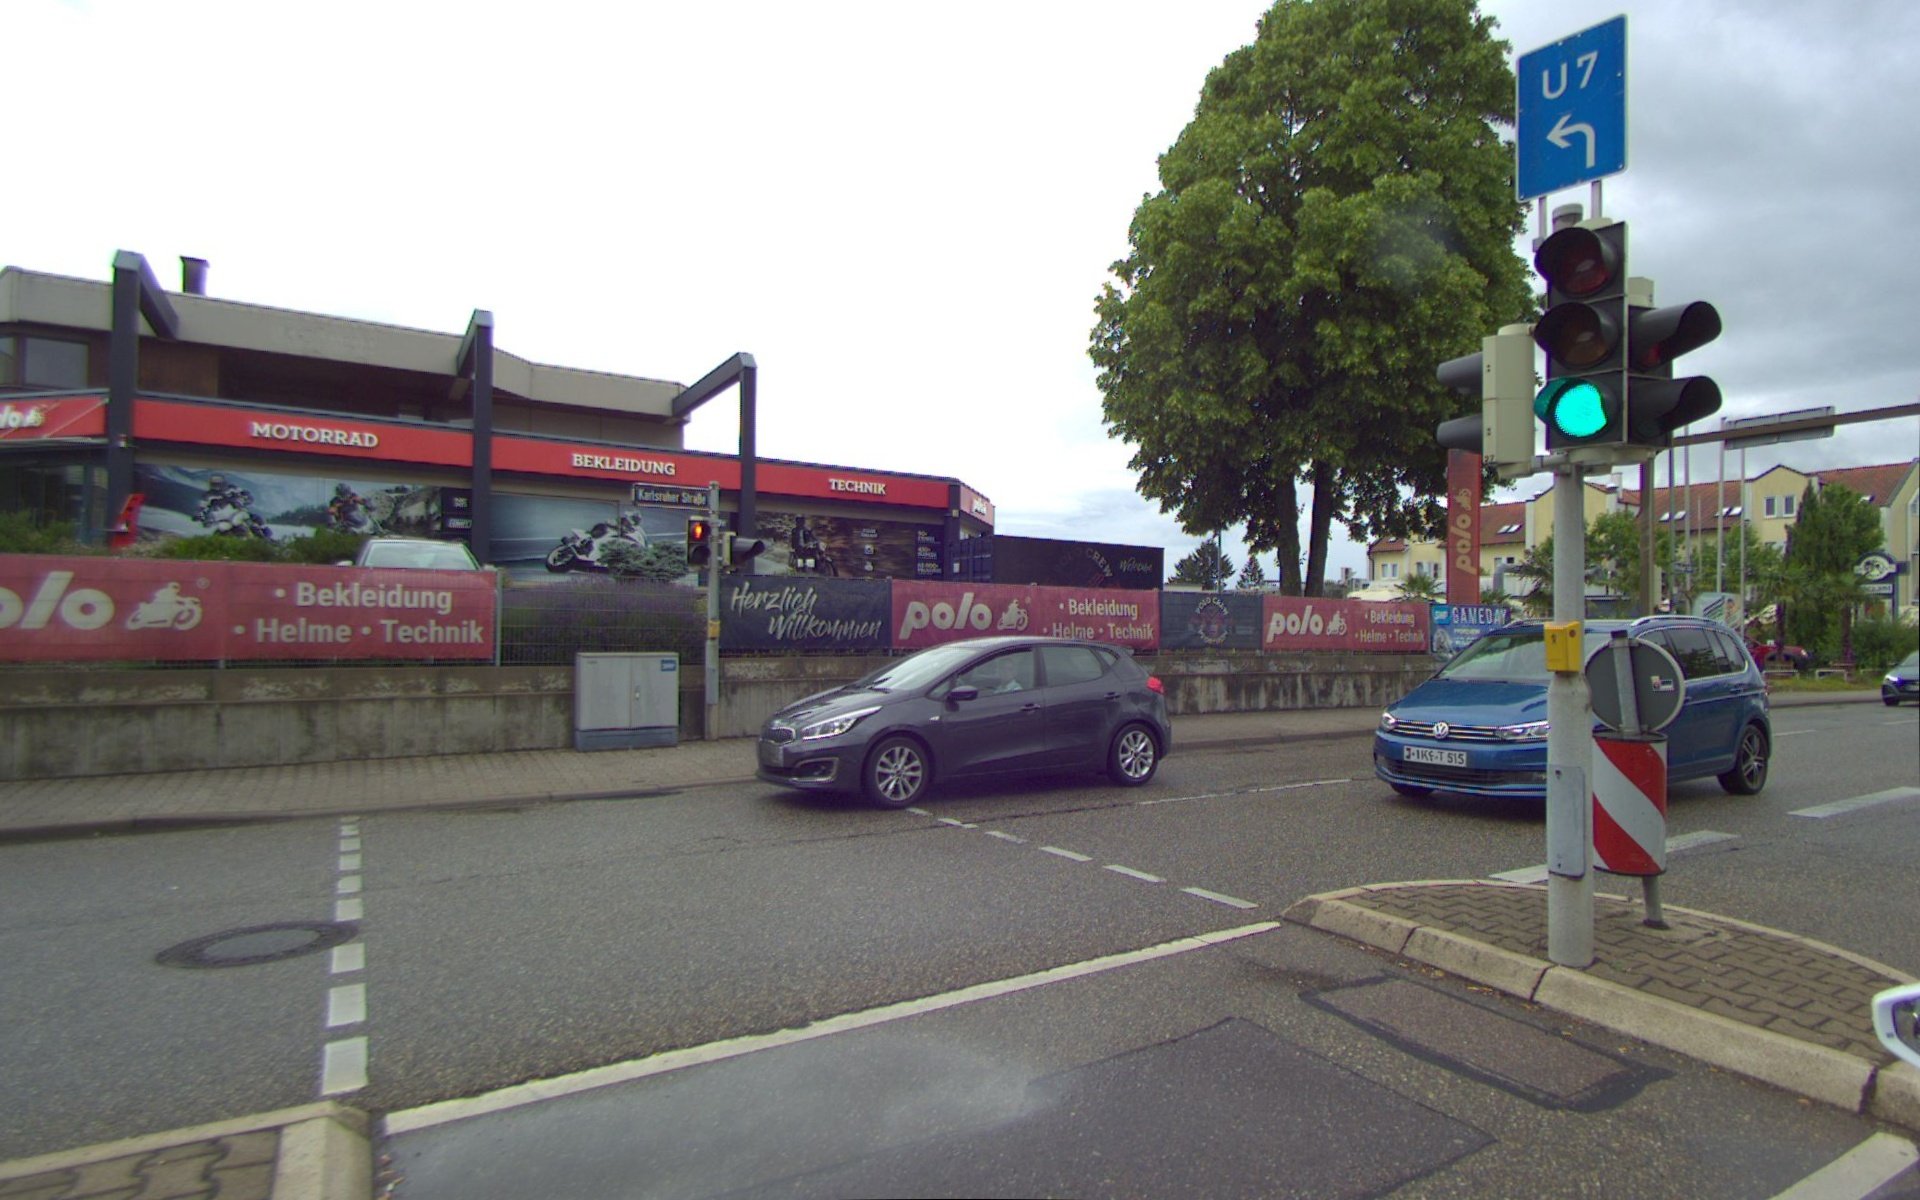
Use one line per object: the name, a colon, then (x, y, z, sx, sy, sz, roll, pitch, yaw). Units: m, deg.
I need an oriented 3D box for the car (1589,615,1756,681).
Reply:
car: (23.516, 1.606, 33.388, 4.324, 2.040, 1.996, -2, -3, 32)

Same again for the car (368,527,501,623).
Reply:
car: (-7.549, -0.267, 14.292, 1.438, 1.183, 3.368, 1, -1, -32)

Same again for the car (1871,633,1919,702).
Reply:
car: (24.625, 1.650, 25.092, 3.954, 1.639, 1.668, 1, -2, -31)

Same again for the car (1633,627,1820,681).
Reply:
car: (26.441, 1.905, 34.918, 4.927, 1.724, 1.996, -2, -6, 32)

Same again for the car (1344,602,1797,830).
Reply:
car: (5.716, 0.929, 9.290, 4.248, 1.671, 1.830, 1, -3, -31)

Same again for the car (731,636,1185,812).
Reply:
car: (0.026, 1.058, 9.865, 4.077, 1.397, 1.908, 1, -3, -31)
